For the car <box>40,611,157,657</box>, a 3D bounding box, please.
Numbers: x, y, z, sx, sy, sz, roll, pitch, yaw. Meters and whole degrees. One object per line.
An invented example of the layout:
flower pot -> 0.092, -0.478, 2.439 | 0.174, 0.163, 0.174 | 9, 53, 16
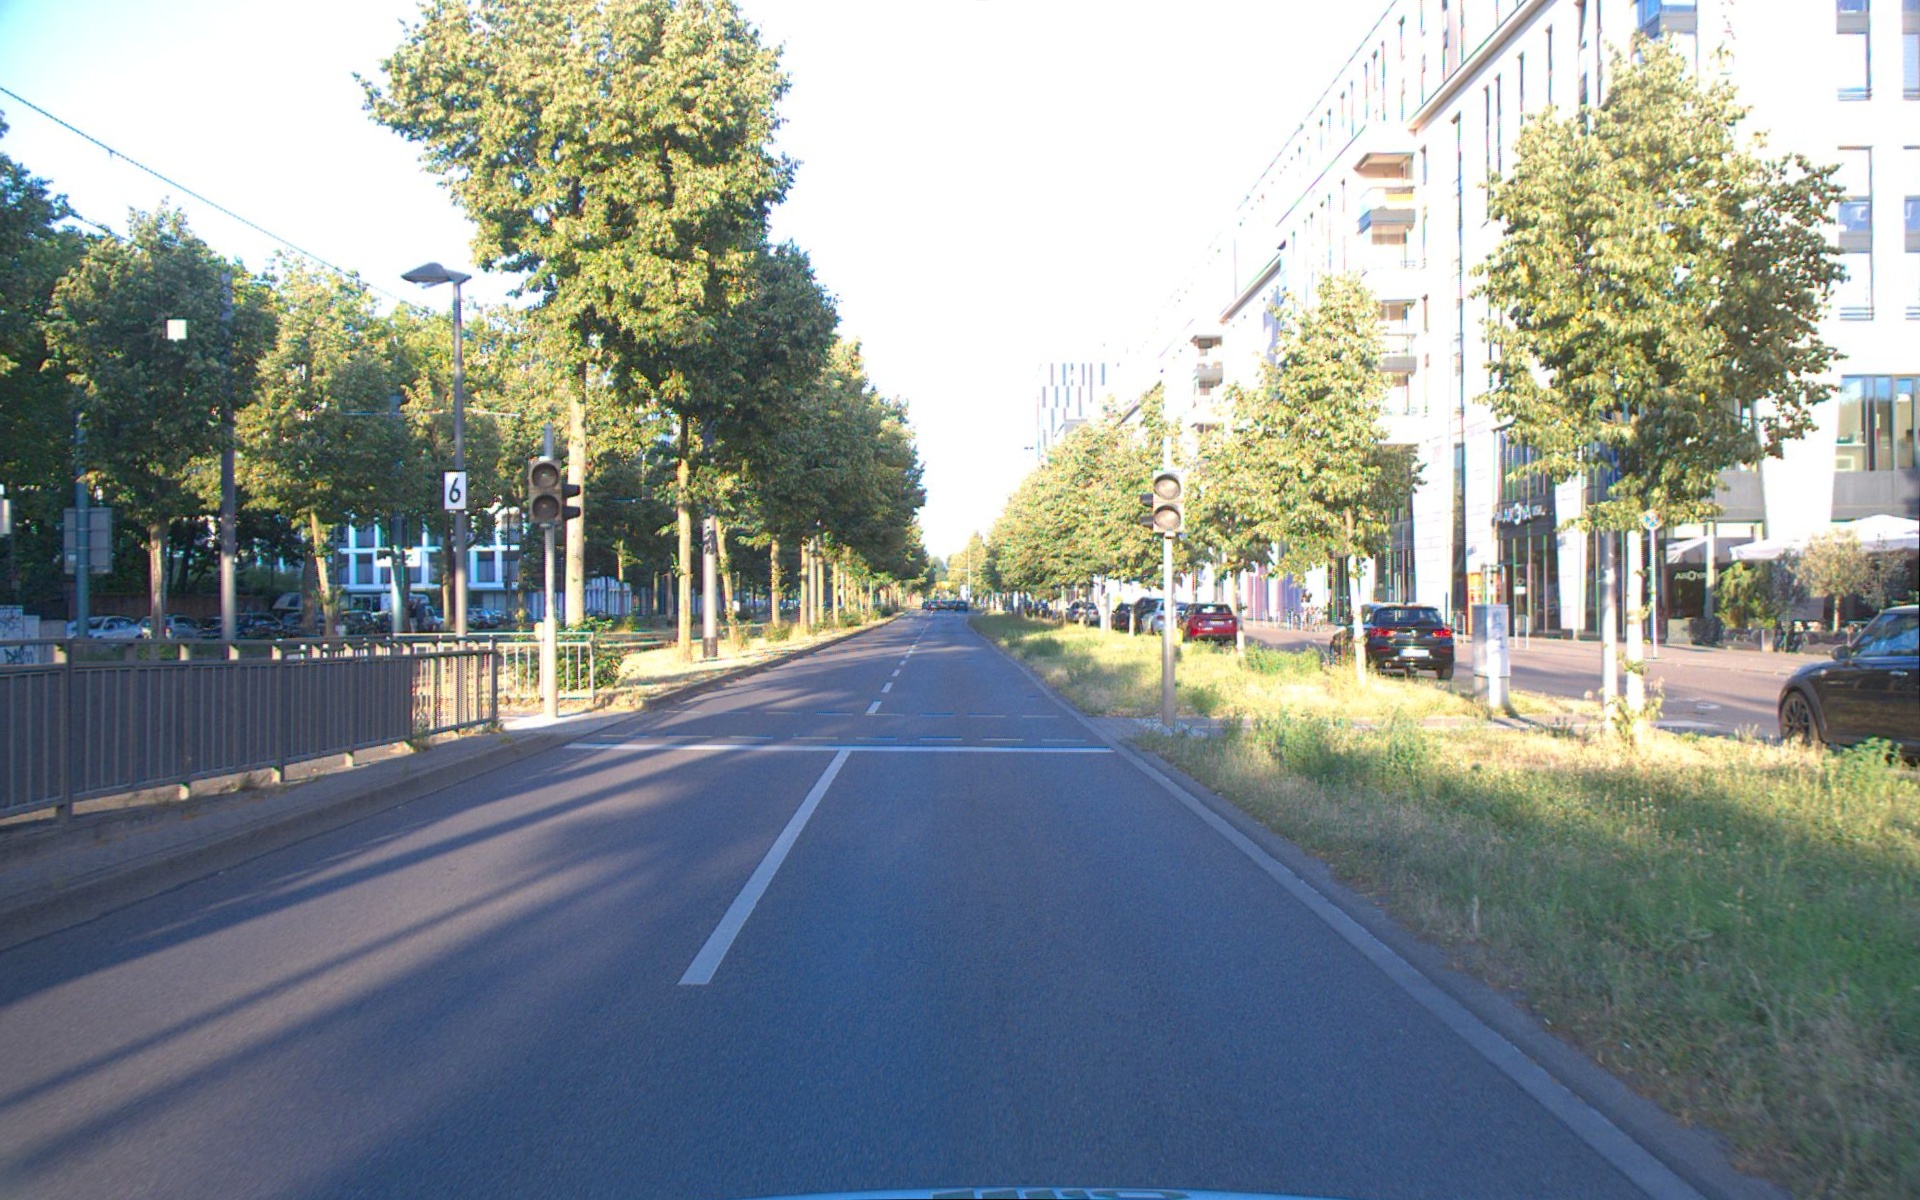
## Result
car -> -30.304, 1.159, 58.333 | 1.861, 1.525, 4.306 | -1, 0, 0

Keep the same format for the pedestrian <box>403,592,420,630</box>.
pedestrian -> -27.449, 0.539, 82.772 | 0.680, 1.903, 0.864 | -1, 0, -8

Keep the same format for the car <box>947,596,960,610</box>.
car -> -0.999, 0.489, 246.467 | 1.953, 2.049, 4.000 | -1, 0, 0

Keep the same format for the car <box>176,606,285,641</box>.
car -> -29.621, 0.912, 67.337 | 1.952, 1.338, 5.144 | -1, 0, 3

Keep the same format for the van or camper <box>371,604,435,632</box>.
van or camper -> -38.534, 1.245, 114.434 | 3.916, 1.822, 1.995 | -1, 0, -11

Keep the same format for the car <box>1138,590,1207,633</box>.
car -> 8.063, 0.411, 63.236 | 1.882, 1.527, 5.008 | 0, 0, -1

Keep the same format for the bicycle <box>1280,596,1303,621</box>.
bicycle -> 15.056, 0.382, 75.131 | 0.523, 1.078, 1.610 | -1, 0, -6

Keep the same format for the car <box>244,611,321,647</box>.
car -> -31.098, 1.311, 76.032 | 1.765, 1.588, 3.839 | -1, 0, 3

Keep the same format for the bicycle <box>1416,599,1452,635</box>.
bicycle -> 15.315, 0.540, 53.494 | 0.535, 1.148, 1.867 | -2, 0, -2

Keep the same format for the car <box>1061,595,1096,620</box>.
car -> 7.449, 0.442, 104.512 | 1.772, 1.527, 4.824 | 0, 0, -1

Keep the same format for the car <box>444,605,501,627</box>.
car -> -37.697, 1.238, 127.887 | 3.908, 1.668, 1.920 | -1, 0, -4

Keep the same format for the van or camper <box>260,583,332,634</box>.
van or camper -> -37.695, 0.474, 94.089 | 2.043, 2.783, 5.492 | -1, 0, -2

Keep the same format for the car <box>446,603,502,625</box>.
car -> -38.313, 1.104, 130.393 | 3.908, 1.668, 1.920 | -1, 0, -4

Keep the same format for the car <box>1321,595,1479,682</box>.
car -> 8.339, 0.681, 31.754 | 1.772, 1.527, 4.367 | 0, 0, -1

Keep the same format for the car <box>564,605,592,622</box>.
car -> -36.653, 1.304, 158.719 | 1.822, 1.609, 3.492 | 0, 0, 0

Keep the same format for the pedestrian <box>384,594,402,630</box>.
pedestrian -> -28.258, 0.604, 82.467 | 0.680, 1.789, 0.864 | -1, 0, -8

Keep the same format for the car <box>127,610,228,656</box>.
car -> -32.169, 1.323, 68.132 | 1.951, 1.780, 4.162 | -1, 0, 4

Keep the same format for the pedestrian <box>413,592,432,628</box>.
pedestrian -> -26.722, 0.491, 82.286 | 0.679, 1.773, 0.866 | -1, 0, -3

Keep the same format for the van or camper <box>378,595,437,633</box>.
van or camper -> -46.864, 1.157, 140.489 | 2.653, 3.139, 6.264 | 0, 0, 3

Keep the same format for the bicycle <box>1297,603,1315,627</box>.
bicycle -> 16.579, 0.729, 79.376 | 0.532, 1.138, 1.913 | -1, 0, 2

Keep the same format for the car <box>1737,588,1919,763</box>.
car -> 8.624, 0.612, 14.441 | 1.714, 1.422, 3.999 | 0, 0, -2

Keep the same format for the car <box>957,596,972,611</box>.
car -> 0.613, 0.424, 230.860 | 1.953, 2.049, 3.999 | 0, 0, -1

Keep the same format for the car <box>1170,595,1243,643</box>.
car -> 8.246, 0.599, 55.647 | 1.772, 1.527, 3.958 | 0, 0, -1

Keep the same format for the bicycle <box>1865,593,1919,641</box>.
bicycle -> 22.434, 0.395, 39.178 | 1.759, 1.127, 0.500 | -1, 0, -5

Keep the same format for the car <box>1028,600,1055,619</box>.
car -> 7.305, 0.839, 148.448 | 1.904, 1.576, 4.809 | -1, 0, -3

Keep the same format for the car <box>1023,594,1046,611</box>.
car -> 7.015, 0.248, 155.687 | 1.817, 1.556, 4.482 | 1, 0, -1

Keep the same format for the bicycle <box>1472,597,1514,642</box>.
bicycle -> 15.321, 0.560, 47.575 | 0.604, 1.253, 1.670 | -1, 0, -3

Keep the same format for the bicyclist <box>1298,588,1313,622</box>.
bicyclist -> 16.575, 0.235, 79.437 | 0.533, 1.596, 1.020 | -1, 0, 2

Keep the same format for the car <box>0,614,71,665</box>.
car -> -30.487, 1.244, 52.583 | 1.953, 1.525, 4.557 | -1, 0, 0

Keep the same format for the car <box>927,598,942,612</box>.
car -> -3.682, 0.708, 239.473 | 2.045, 2.049, 3.999 | 0, 0, -1

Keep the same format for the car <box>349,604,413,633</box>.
car -> -31.437, 1.002, 89.932 | 1.952, 1.512, 4.001 | -1, 0, 2

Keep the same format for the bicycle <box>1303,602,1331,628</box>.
bicycle -> 14.911, 0.628, 69.162 | 0.607, 1.051, 2.260 | -1, 0, -2
